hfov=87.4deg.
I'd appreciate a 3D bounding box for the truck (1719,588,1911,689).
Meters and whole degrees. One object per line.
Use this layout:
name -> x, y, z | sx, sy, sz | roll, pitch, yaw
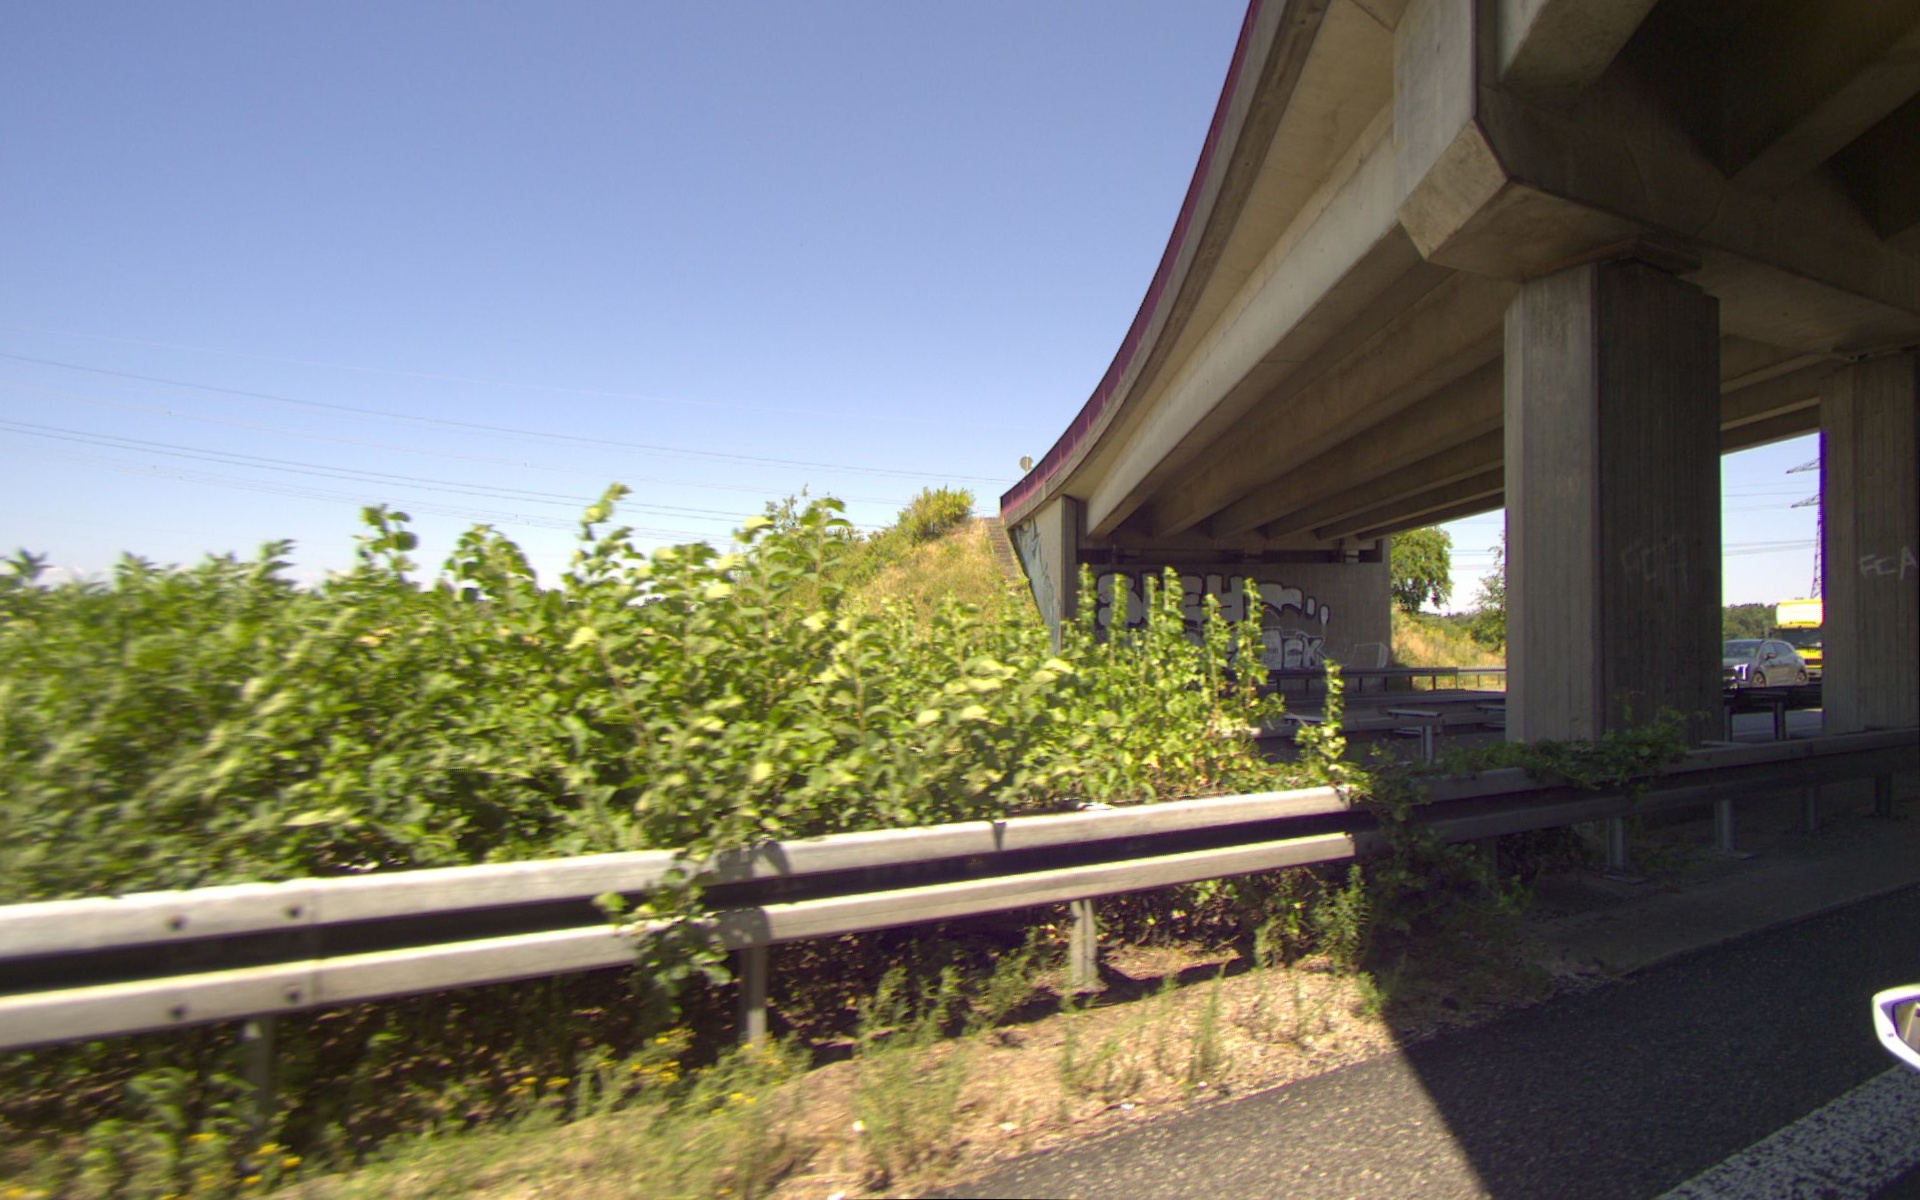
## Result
truck -> 36.146, 1.580, 42.389 | 8.559, 3.914, 3.495 | 1, -1, -30
